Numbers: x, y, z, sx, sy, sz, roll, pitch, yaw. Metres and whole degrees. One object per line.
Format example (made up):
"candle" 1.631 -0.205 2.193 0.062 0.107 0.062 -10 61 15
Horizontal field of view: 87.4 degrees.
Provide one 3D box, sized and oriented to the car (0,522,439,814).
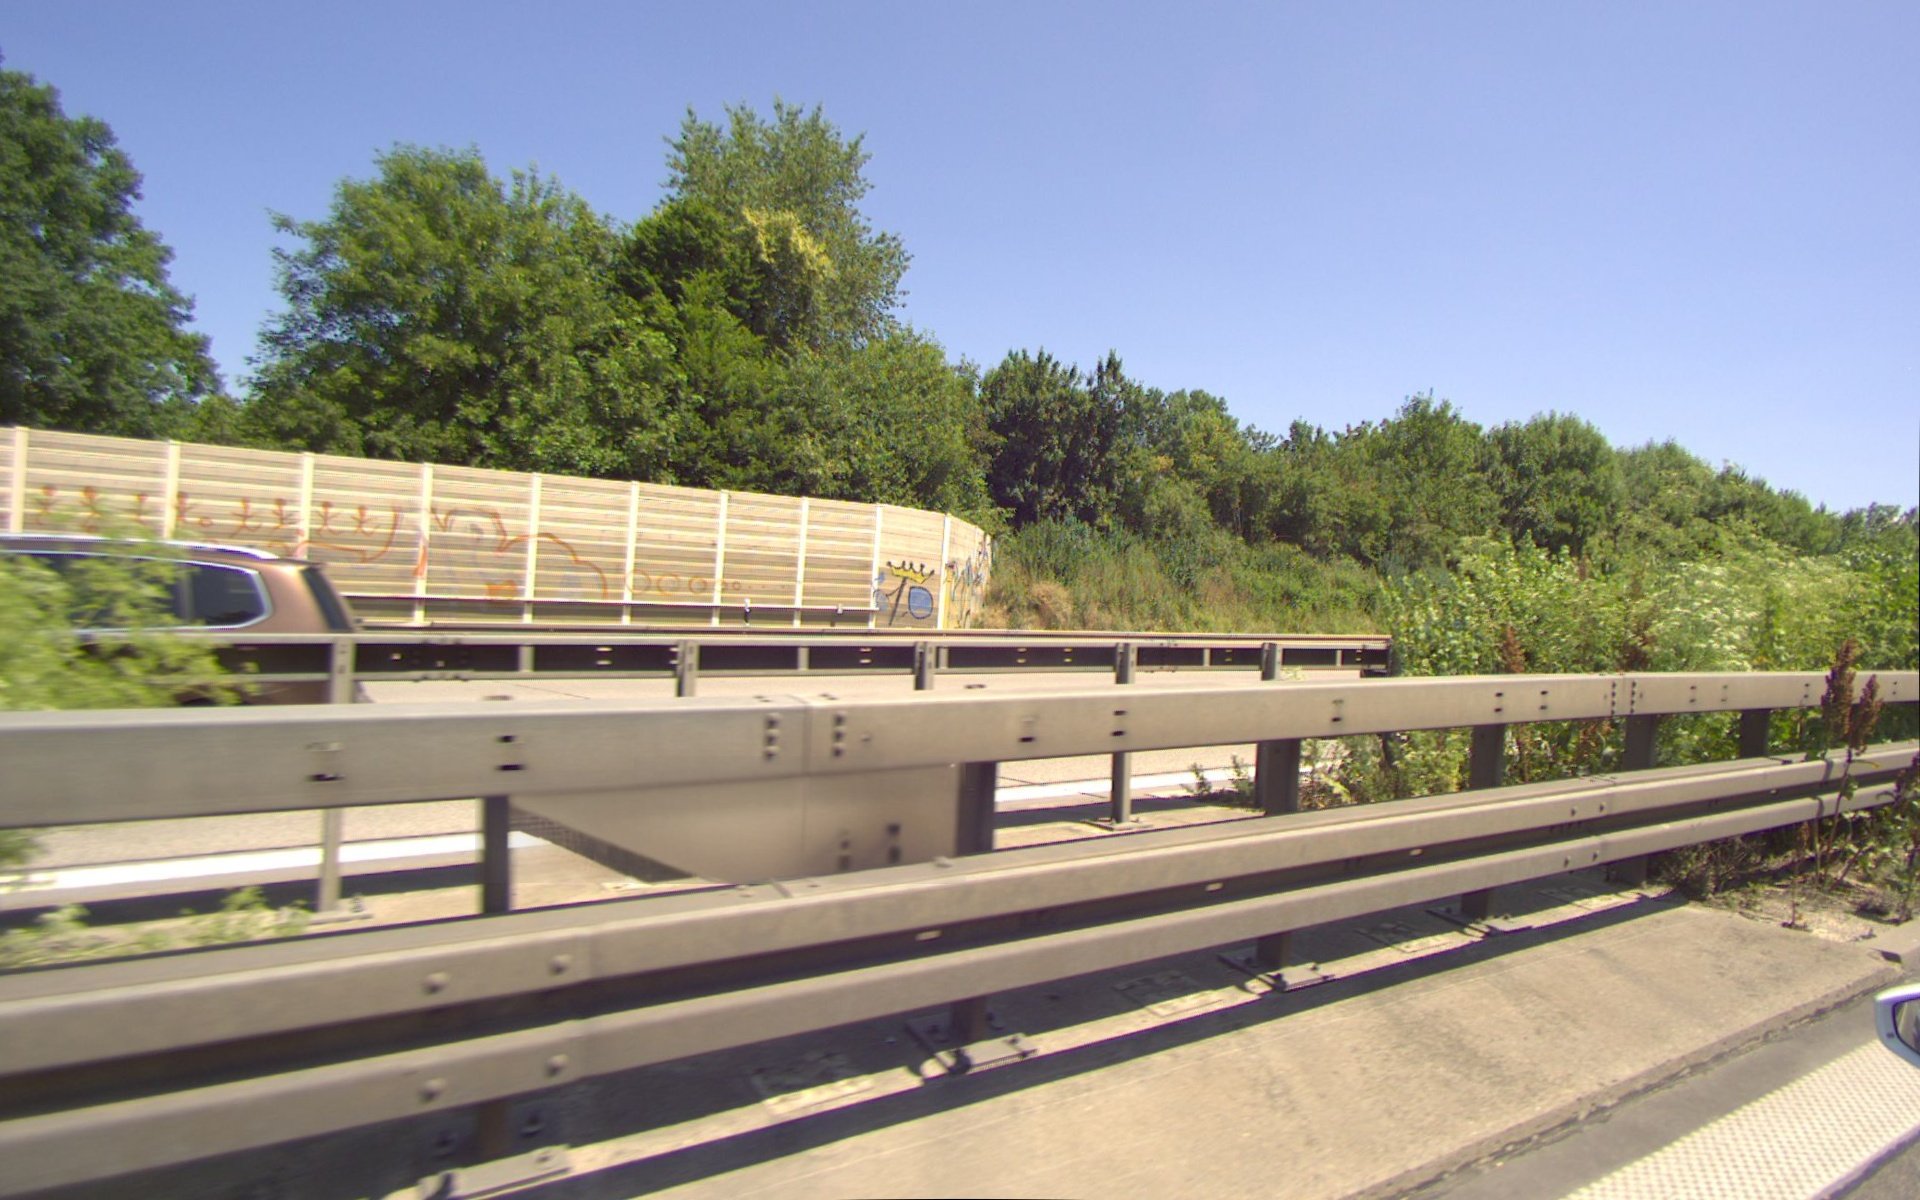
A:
"car" -5.555 0.380 6.460 3.828 1.639 1.594 2 0 -30
